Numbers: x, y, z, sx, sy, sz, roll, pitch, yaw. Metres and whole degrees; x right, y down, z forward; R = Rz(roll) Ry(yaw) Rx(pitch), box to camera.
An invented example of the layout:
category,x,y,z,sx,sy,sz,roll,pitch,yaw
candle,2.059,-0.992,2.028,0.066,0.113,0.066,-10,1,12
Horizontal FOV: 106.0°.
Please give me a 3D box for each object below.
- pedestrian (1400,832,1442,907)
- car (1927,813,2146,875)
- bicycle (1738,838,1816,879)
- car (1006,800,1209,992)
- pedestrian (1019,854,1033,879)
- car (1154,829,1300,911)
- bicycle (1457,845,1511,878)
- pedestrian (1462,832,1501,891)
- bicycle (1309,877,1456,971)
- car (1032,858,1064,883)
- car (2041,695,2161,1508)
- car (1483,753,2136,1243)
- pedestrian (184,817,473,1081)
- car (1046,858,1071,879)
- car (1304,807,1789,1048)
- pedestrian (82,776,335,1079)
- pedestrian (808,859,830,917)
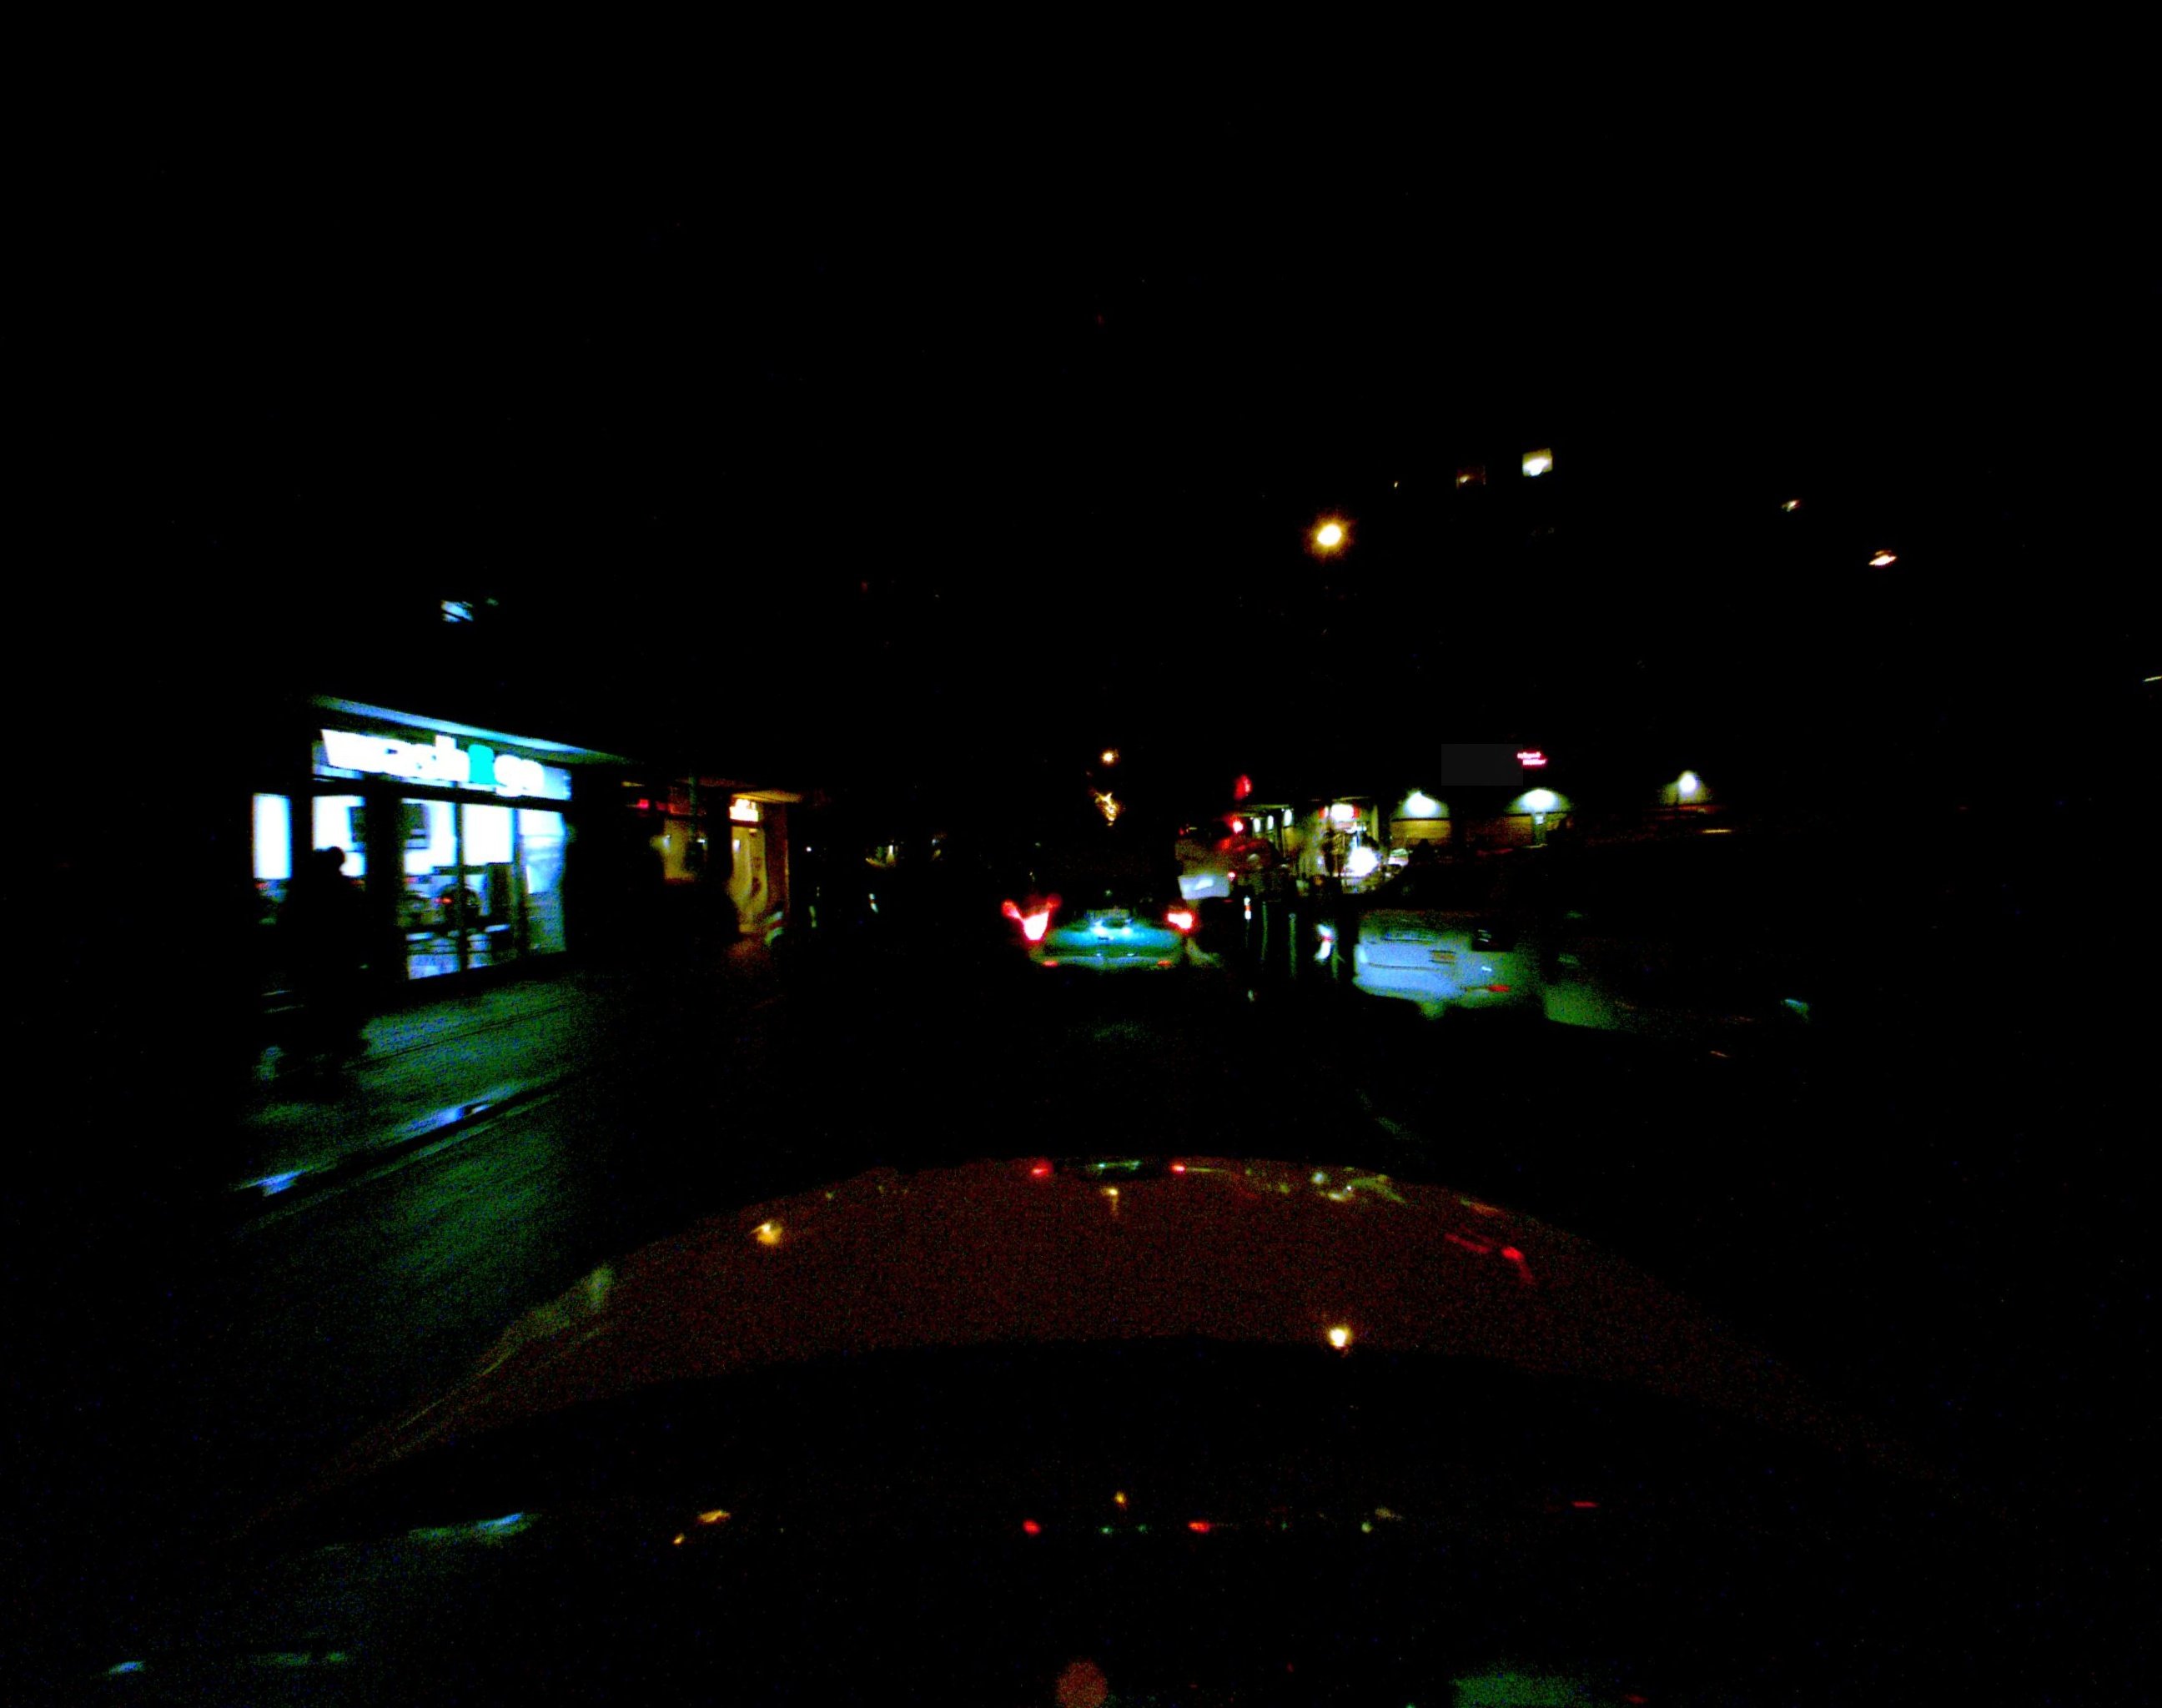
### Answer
category,x,y,z,sx,sy,sz,roll,pitch,yaw
pedestrian,8.202,0.377,19.673,0.820,1.771,0.602,-1,-1,14
car,26.077,-0.226,22.438,1.745,1.578,3.694,0,-1,1
bicycle,20.639,0.134,24.159,1.953,1.176,0.452,0,-1,-1
car,0.376,0.461,10.976,2.114,1.991,4.603,-2,0,2
pedestrian,-3.995,0.923,59.281,0.799,1.766,1.018,0,-1,8
car,3.996,0.373,21.533,2.102,1.922,4.856,-1,0,32
bicycle,15.252,0.290,30.820,1.764,1.174,0.386,-2,0,30
pedestrian,12.725,0.235,25.857,0.867,1.833,0.990,-3,-1,38
bicycle,3.591,0.812,9.807,0.338,1.026,1.626,-3,0,-44
car,-2.032,0.981,50.963,1.580,1.463,4.026,1,0,3
car,4.242,0.397,2.108,3.808,1.712,1.730,-4,0,-33
car,4.235,0.434,4.610,3.754,1.712,1.753,-4,0,-33
pedestrian,-5.950,0.685,6.574,0.952,1.863,1.415,-2,-1,1
car,-1.629,1.071,59.520,1.580,1.449,3.505,-1,0,2
car,4.348,0.495,7.519,4.272,1.573,1.756,-4,0,-27
pedestrian,-7.055,0.549,6.666,0.796,2.241,1.116,-2,-1,1
pedestrian,-8.699,1.118,26.999,0.655,1.909,0.624,0,-1,-22
